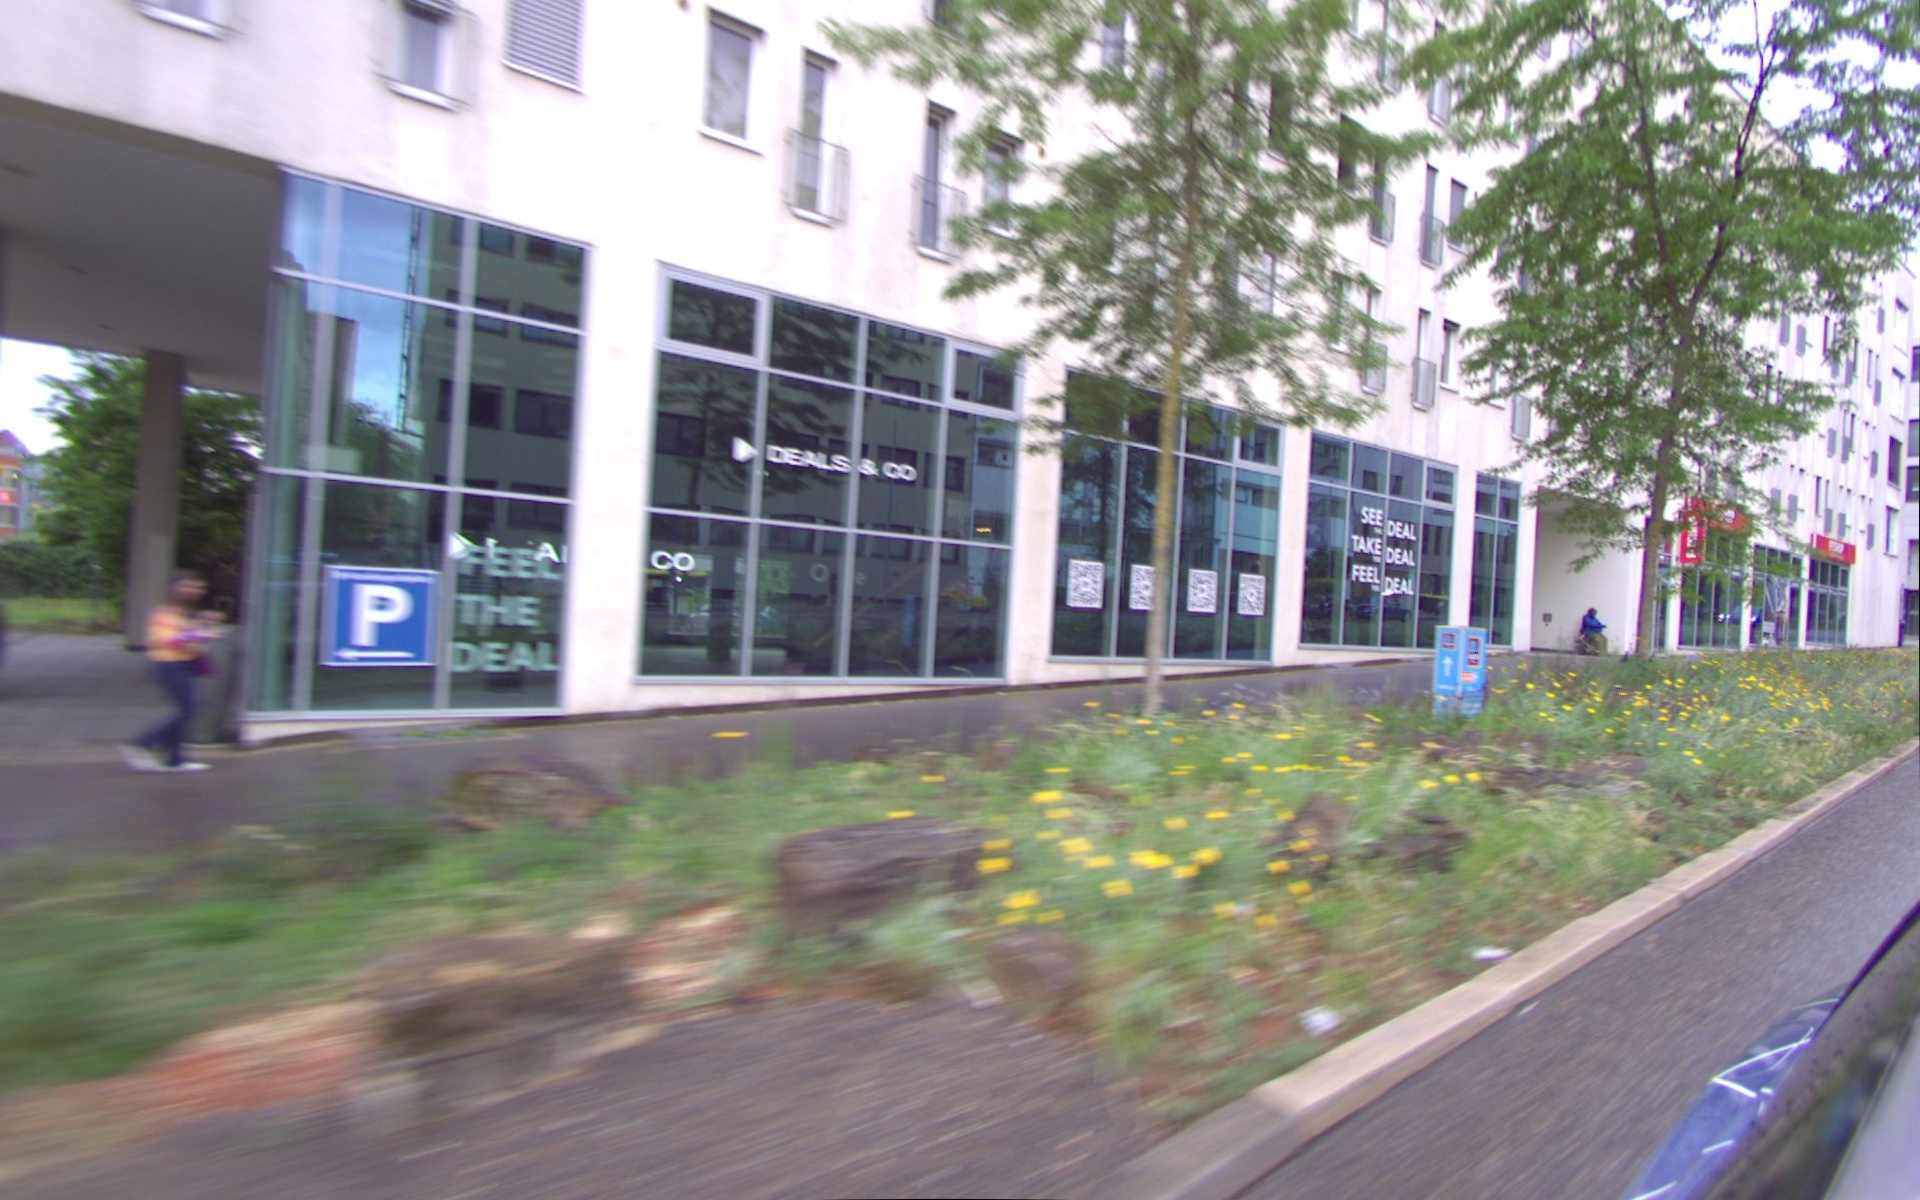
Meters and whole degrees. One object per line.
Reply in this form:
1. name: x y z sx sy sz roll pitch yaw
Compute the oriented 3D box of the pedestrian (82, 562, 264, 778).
1. pedestrian: -6.770 0.580 8.780 1.066 1.734 0.876 2 -1 -30
